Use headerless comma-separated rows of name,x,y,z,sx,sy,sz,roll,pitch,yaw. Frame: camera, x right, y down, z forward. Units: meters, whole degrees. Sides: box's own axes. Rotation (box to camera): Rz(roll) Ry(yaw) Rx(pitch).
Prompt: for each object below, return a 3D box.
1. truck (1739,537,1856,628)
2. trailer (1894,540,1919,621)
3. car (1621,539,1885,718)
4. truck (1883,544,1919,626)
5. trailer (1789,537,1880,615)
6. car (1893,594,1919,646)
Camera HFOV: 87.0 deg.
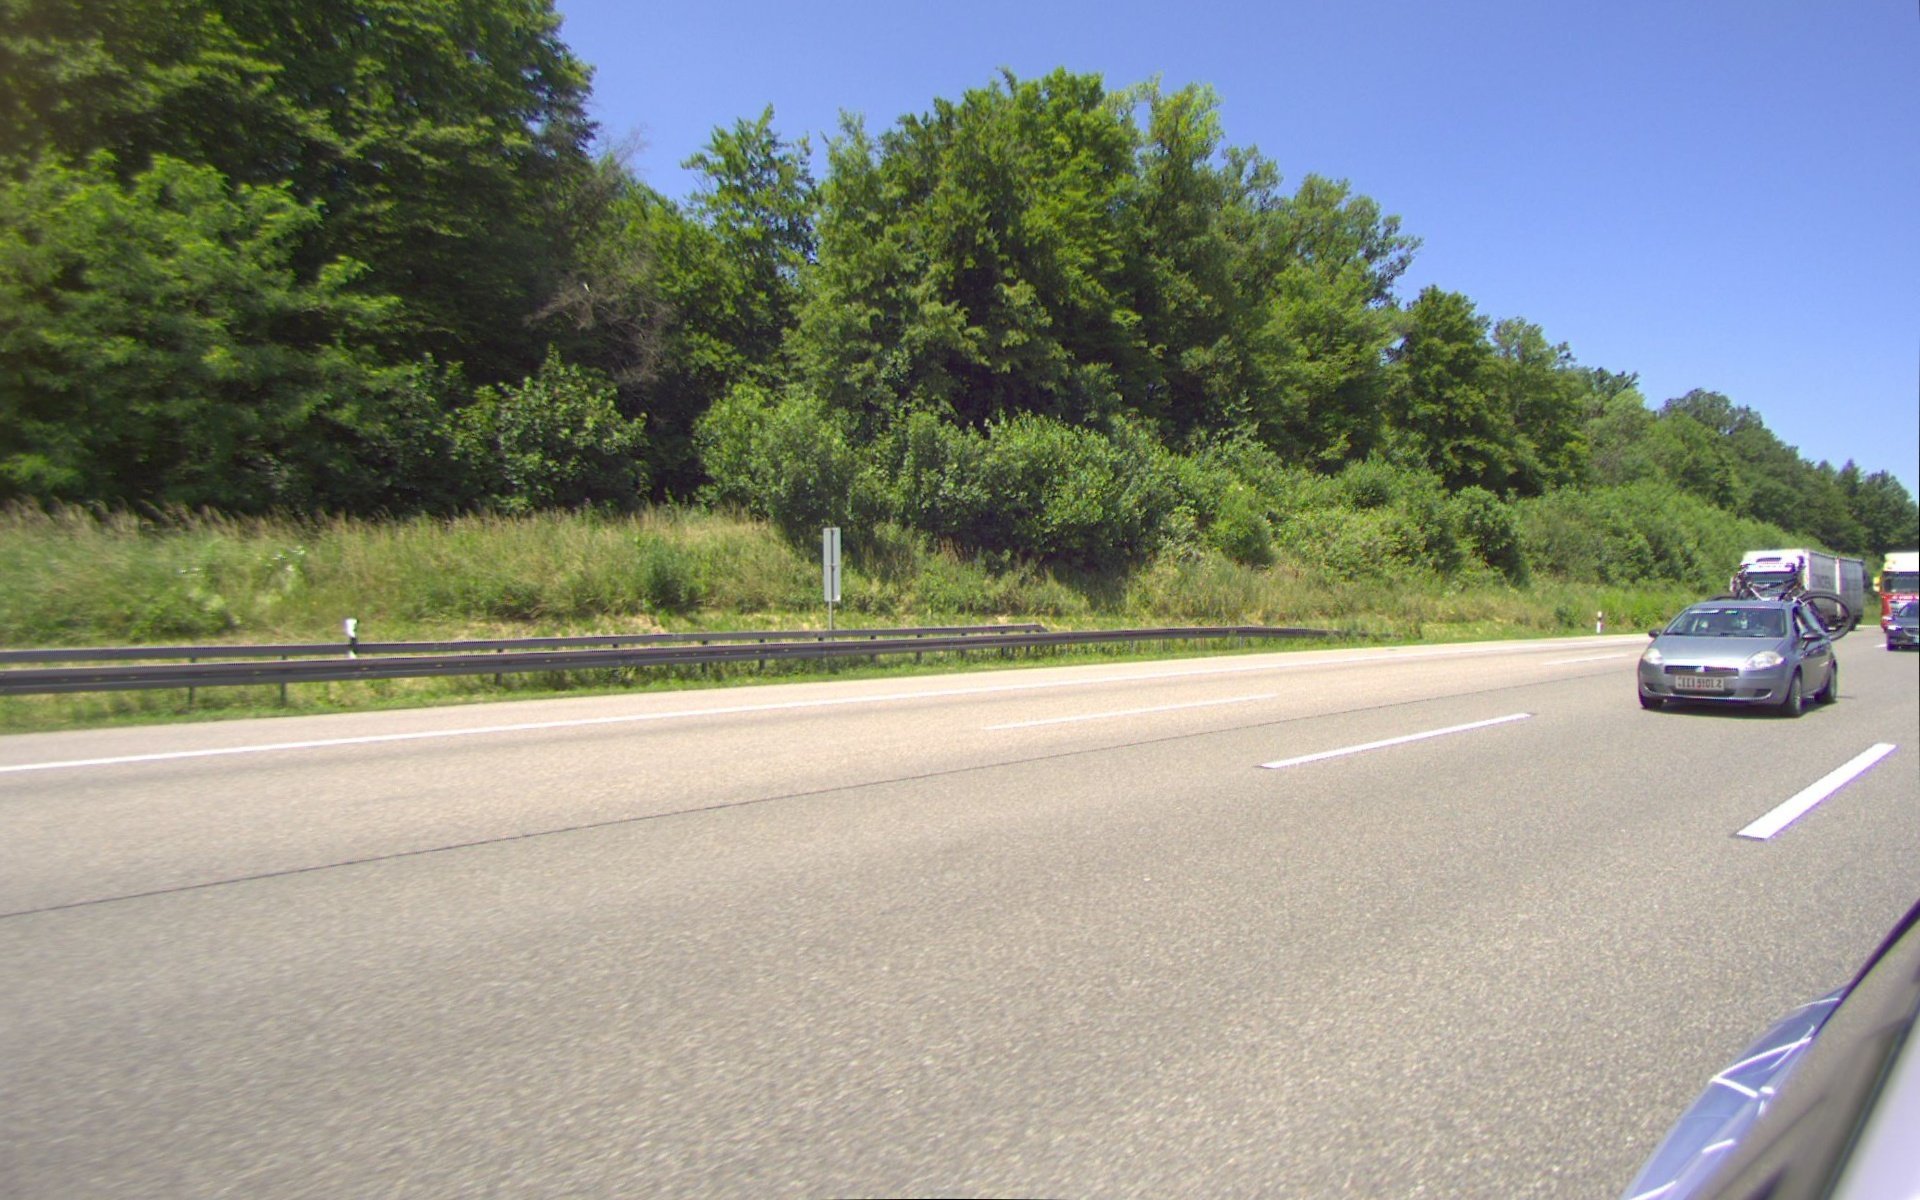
truck,42.554,-0.738,51.263,10.775,4.214,2.726,1,-2,-41
trailer,55.124,-0.879,56.350,14.585,4.195,2.925,1,0,-41
car,11.104,0.313,14.043,4.700,2.080,1.964,-1,0,-41
truck,50.118,-0.686,52.050,7.406,4.032,3.016,1,-1,-41
trailer,49.277,-1.207,56.946,8.235,4.122,2.583,1,-2,-41
car,29.074,0.566,29.537,5.129,1.471,1.971,0,-1,-39
